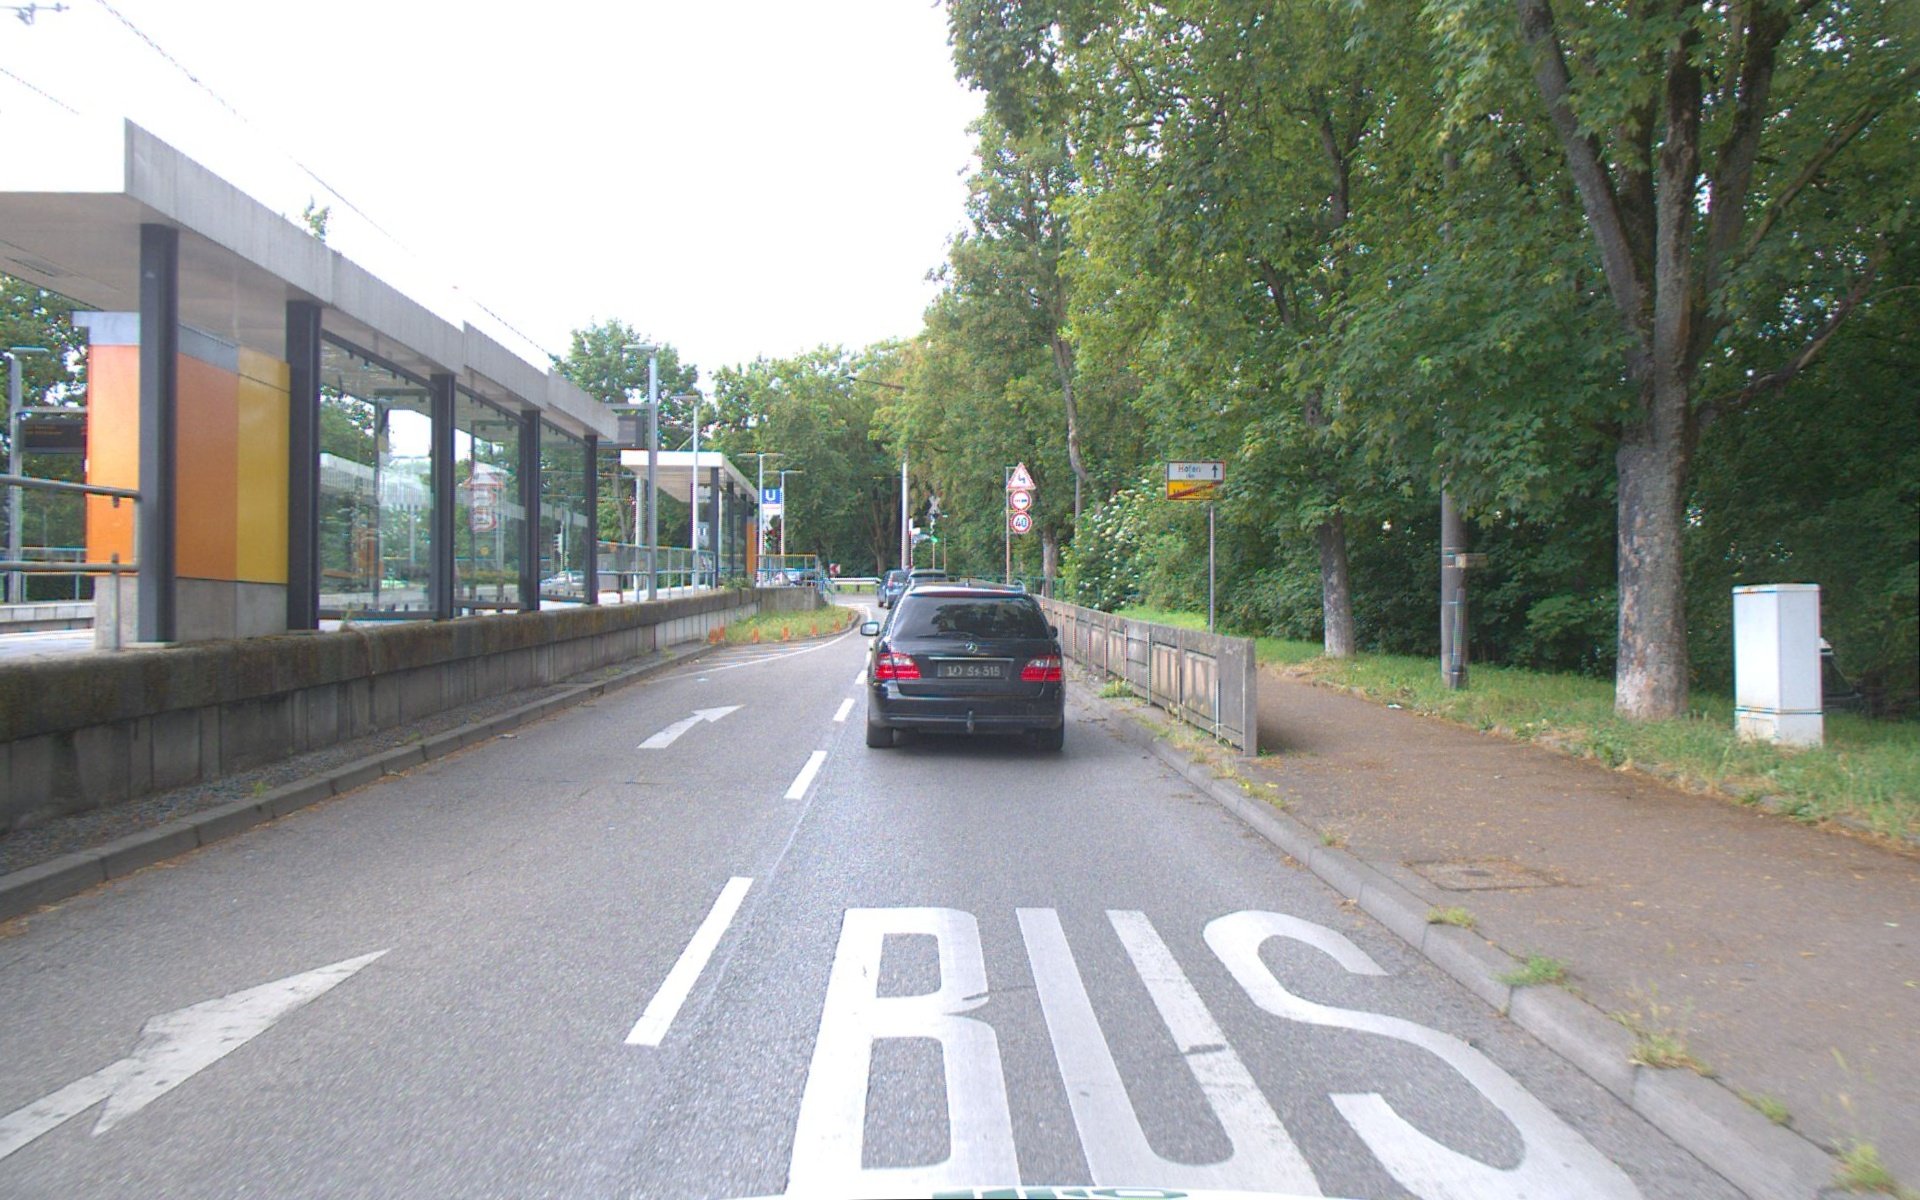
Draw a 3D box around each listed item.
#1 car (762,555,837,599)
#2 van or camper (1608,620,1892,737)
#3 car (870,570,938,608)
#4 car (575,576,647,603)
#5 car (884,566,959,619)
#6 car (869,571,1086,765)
[{"bbox_3d":[-7.622,-1.063,78.223,1.973,1.952,3.958,3,-1,-31],"label":"car"},{"bbox_3d":[15.621,1.484,33.169,2.138,2.049,5.826,2,-1,-10],"label":"van or camper"},{"bbox_3d":[-2.232,-0.460,64.767,1.959,1.423,3.987,0,1,-13],"label":"car"},{"bbox_3d":[-19.403,-0.597,91.892,3.928,1.423,1.988,1,1,42],"label":"car"},{"bbox_3d":[-1.299,-0.239,54.196,1.750,1.677,3.989,0,0,-12],"label":"car"},{"bbox_3d":[0.059,0.534,15.603,1.746,1.552,3.998,1,1,-3],"label":"car"}]
